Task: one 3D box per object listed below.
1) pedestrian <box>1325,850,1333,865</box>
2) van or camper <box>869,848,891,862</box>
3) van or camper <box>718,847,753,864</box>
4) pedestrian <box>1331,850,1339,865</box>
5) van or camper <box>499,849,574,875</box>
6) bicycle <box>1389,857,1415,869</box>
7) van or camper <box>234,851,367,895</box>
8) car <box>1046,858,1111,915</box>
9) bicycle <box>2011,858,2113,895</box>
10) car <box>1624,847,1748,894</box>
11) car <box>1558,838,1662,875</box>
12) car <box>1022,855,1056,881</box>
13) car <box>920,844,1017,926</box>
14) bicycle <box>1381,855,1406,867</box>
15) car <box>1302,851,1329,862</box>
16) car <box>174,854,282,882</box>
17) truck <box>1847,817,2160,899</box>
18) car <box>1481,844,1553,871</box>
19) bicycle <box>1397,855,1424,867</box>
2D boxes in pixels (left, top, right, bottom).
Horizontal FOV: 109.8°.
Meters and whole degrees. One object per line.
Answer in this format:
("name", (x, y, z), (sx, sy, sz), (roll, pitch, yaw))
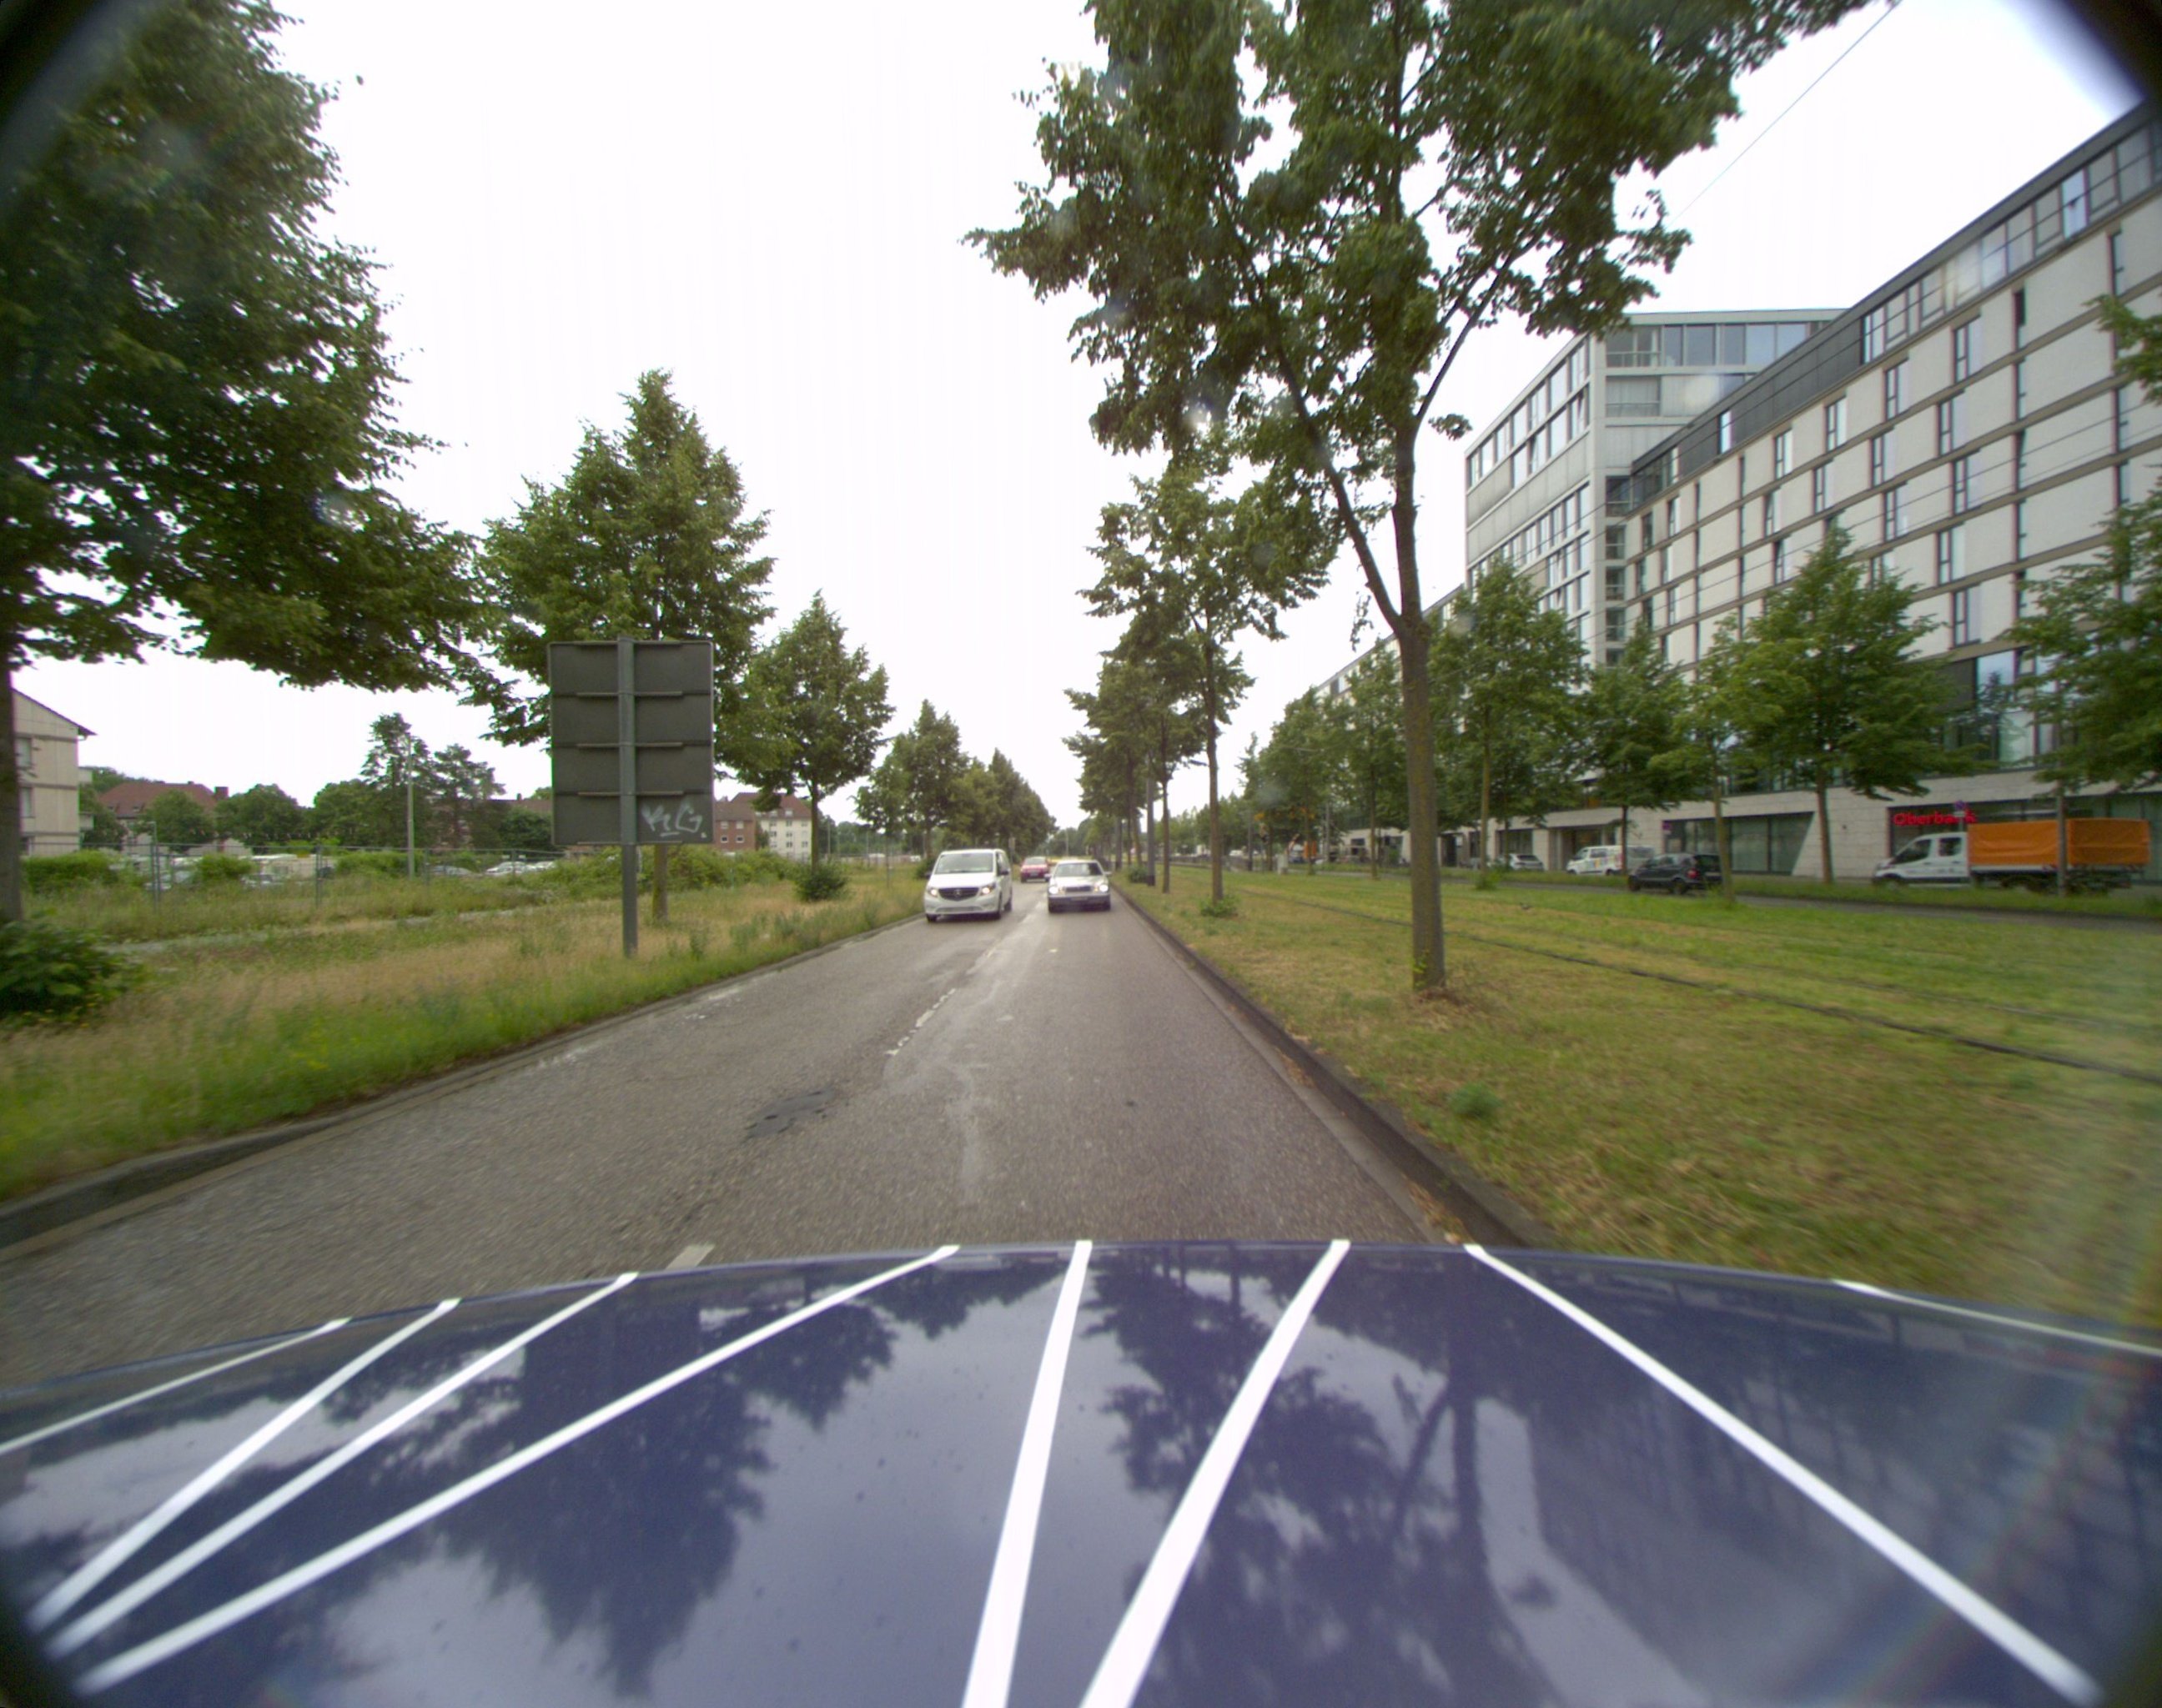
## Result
("pedestrian", (28.550, 0.402, 87.550), (0.712, 1.681, 0.793), (-1, 1, 3))
("van or camper", (-42.699, 0.196, 161.499), (2.343, 3.017, 5.514), (-1, 0, 11))
("van or camper", (-47.275, 0.180, 104.166), (2.209, 2.294, 6.147), (-1, 0, -2))
("pedestrian", (29.334, 0.424, 87.714), (0.712, 1.681, 0.793), (-1, 1, 3))
("van or camper", (-52.514, 0.690, 73.511), (2.509, 2.294, 6.646), (-3, 0, -2))
("bicycle", (28.340, 0.771, 67.138), (1.983, 1.029, 0.696), (-1, 1, 1))
("van or camper", (-51.297, 1.146, 50.215), (2.314, 2.673, 6.395), (-1, 0, -2))
("car", (-0.100, 0.900, 23.023), (1.739, 1.451, 4.607), (-1, 0, -1))
("bicycle", (26.801, 0.591, 20.808), (0.600, 0.939, 1.757), (-1, 0, 4))
("car", (22.793, 0.595, 28.824), (1.998, 1.647, 3.701), (-1, 0, 5))
("car", (28.617, 0.125, 41.337), (1.999, 1.841, 5.163), (-1, 0, -1))
("car", (-2.665, 0.866, 49.201), (1.799, 1.603, 4.245), (-1, 0, 1))
("car", (-2.986, 0.736, 21.261), (1.972, 1.968, 5.090), (-1, 1, -1))
("bicycle", (28.773, 0.615, 69.927), (1.983, 1.029, 0.696), (-1, 1, 1))
("car", (27.919, 0.308, 90.564), (1.998, 1.281, 4.070), (-1, 1, 2))
("car", (-62.704, 0.989, 56.021), (2.168, 1.883, 5.204), (-1, 0, -4))
("truck", (29.144, 0.102, 24.538), (2.432, 2.278, 6.308), (-1, 0, 0))
("car", (28.485, 0.214, 49.830), (2.150, 1.702, 4.463), (-1, 0, 0))
("bicycle", (28.337, 0.598, 65.286), (1.983, 1.029, 0.696), (-1, 1, 1))
